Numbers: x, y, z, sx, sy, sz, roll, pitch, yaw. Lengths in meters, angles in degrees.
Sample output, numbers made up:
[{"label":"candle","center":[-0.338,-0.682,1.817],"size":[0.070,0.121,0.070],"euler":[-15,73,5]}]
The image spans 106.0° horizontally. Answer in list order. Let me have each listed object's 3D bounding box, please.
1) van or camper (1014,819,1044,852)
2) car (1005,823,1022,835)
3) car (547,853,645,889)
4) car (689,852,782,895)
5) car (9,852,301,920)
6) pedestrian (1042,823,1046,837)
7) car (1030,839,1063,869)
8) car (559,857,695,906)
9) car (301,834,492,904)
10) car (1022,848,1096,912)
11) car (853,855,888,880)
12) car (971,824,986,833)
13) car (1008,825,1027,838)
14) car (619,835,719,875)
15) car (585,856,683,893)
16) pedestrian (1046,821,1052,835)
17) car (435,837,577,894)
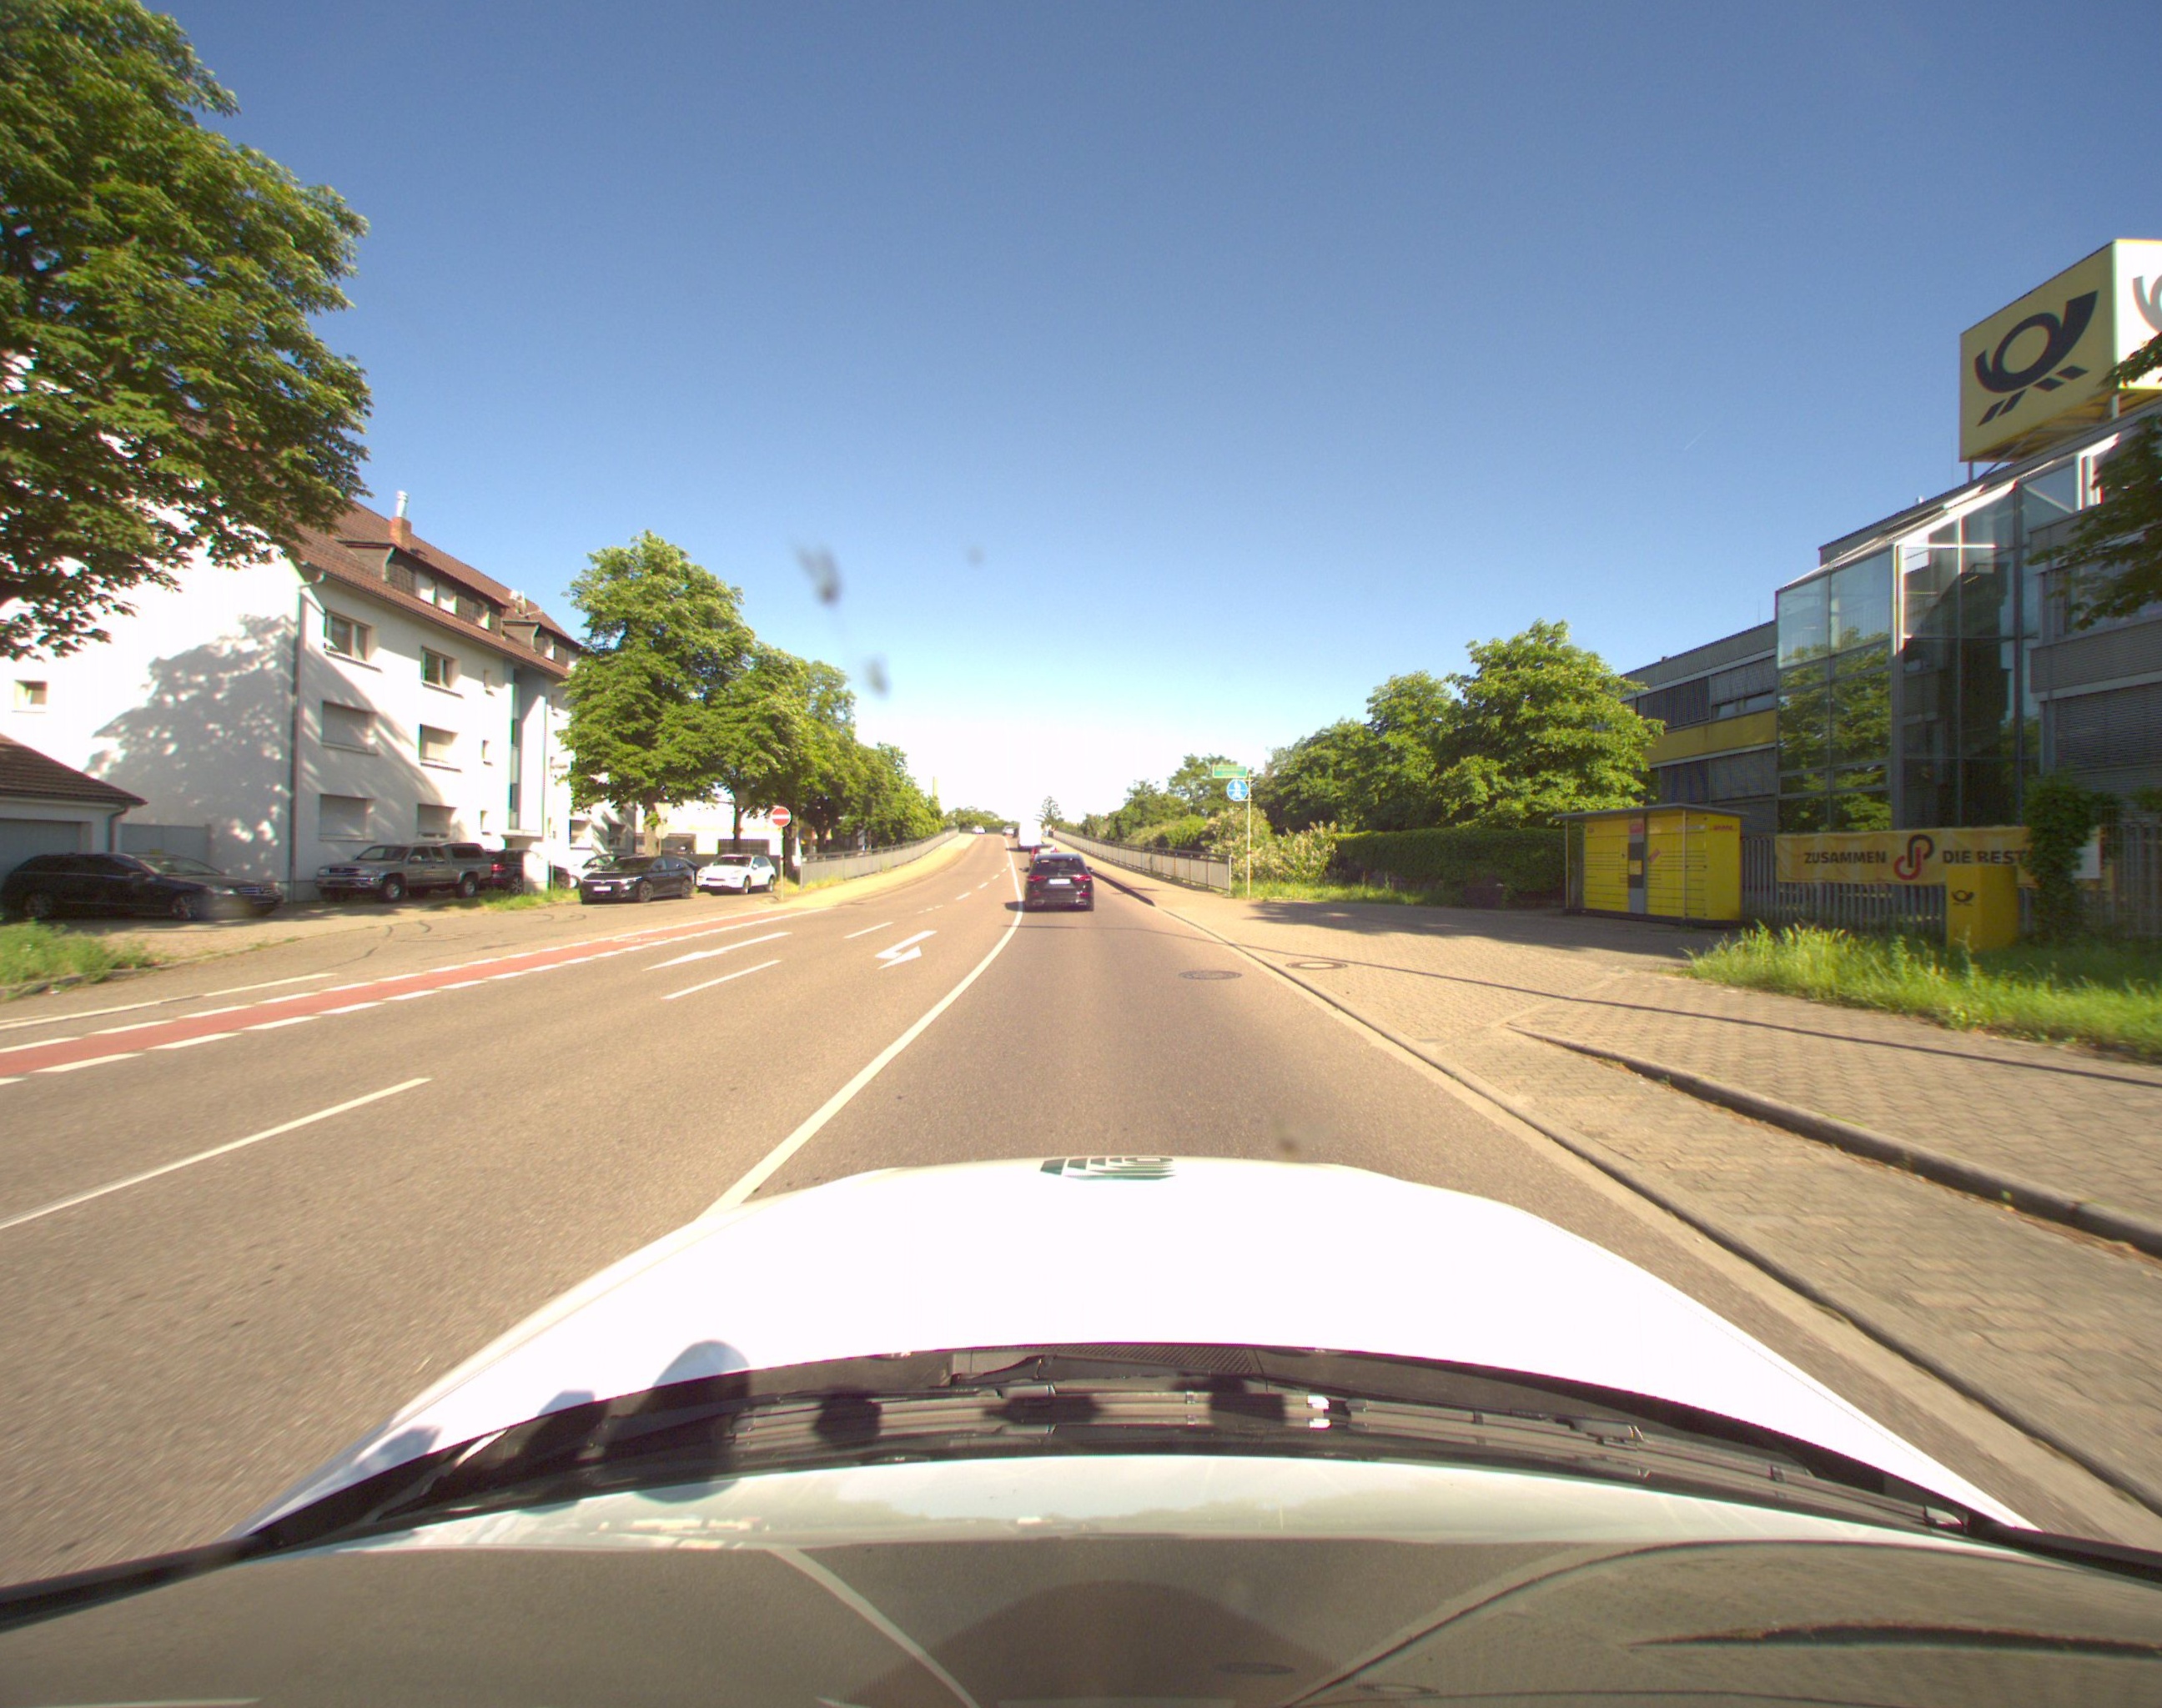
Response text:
[{"label":"van or camper","center":[-4.713,-1.610,72.574],"size":[2.224,2.739,7.062],"euler":[1,0,-7]},{"label":"car","center":[-10.563,-3.967,128.298],"size":[1.984,1.680,4.006],"euler":[-1,-1,5]},{"label":"car","center":[-21.656,0.752,36.500],"size":[3.681,1.510,1.767],"euler":[0,0,-31]},{"label":"car","center":[-14.880,0.799,35.435],"size":[2.033,1.729,5.230],"euler":[1,0,-4]},{"label":"car","center":[-20.487,0.686,18.216],"size":[3.984,1.429,1.903],"euler":[1,0,-8]},{"label":"pedestrian","center":[-4.725,-3.076,103.506],"size":[0.471,1.750,0.652],"euler":[1,0,-6]},{"label":"car","center":[-1.962,0.034,46.099],"size":[1.800,1.640,3.995],"euler":[1,-1,-3]},{"label":"car","center":[-15.038,0.849,27.353],"size":[2.034,1.464,4.954],"euler":[0,0,-4]},{"label":"car","center":[-20.850,0.429,25.168],"size":[1.743,1.930,5.098],"euler":[0,0,-3]},{"label":"car","center":[-0.504,0.637,22.140],"size":[1.763,1.592,3.991],"euler":[0,0,2]},{"label":"car","center":[-18.202,1.131,70.653],"size":[1.917,1.991,4.256],"euler":[1,0,-1]},{"label":"car","center":[-19.599,-4.867,155.464],"size":[1.883,1.543,3.973],"euler":[1,0,-20]},{"label":"car","center":[-8.668,-3.082,111.347],"size":[1.909,1.488,4.276],"euler":[-1,-1,5]},{"label":"car","center":[-27.887,0.036,55.338],"size":[2.110,2.561,5.926],"euler":[0,0,28]},{"label":"car","center":[-21.502,0.947,39.382],"size":[4.007,1.597,1.984],"euler":[-1,1,-25]},{"label":"pedestrian","center":[-4.086,-3.331,103.789],"size":[0.601,1.750,0.715],"euler":[1,0,-6]},{"label":"car","center":[-21.136,0.414,30.250],"size":[2.065,1.930,4.780],"euler":[1,0,-4]}]
